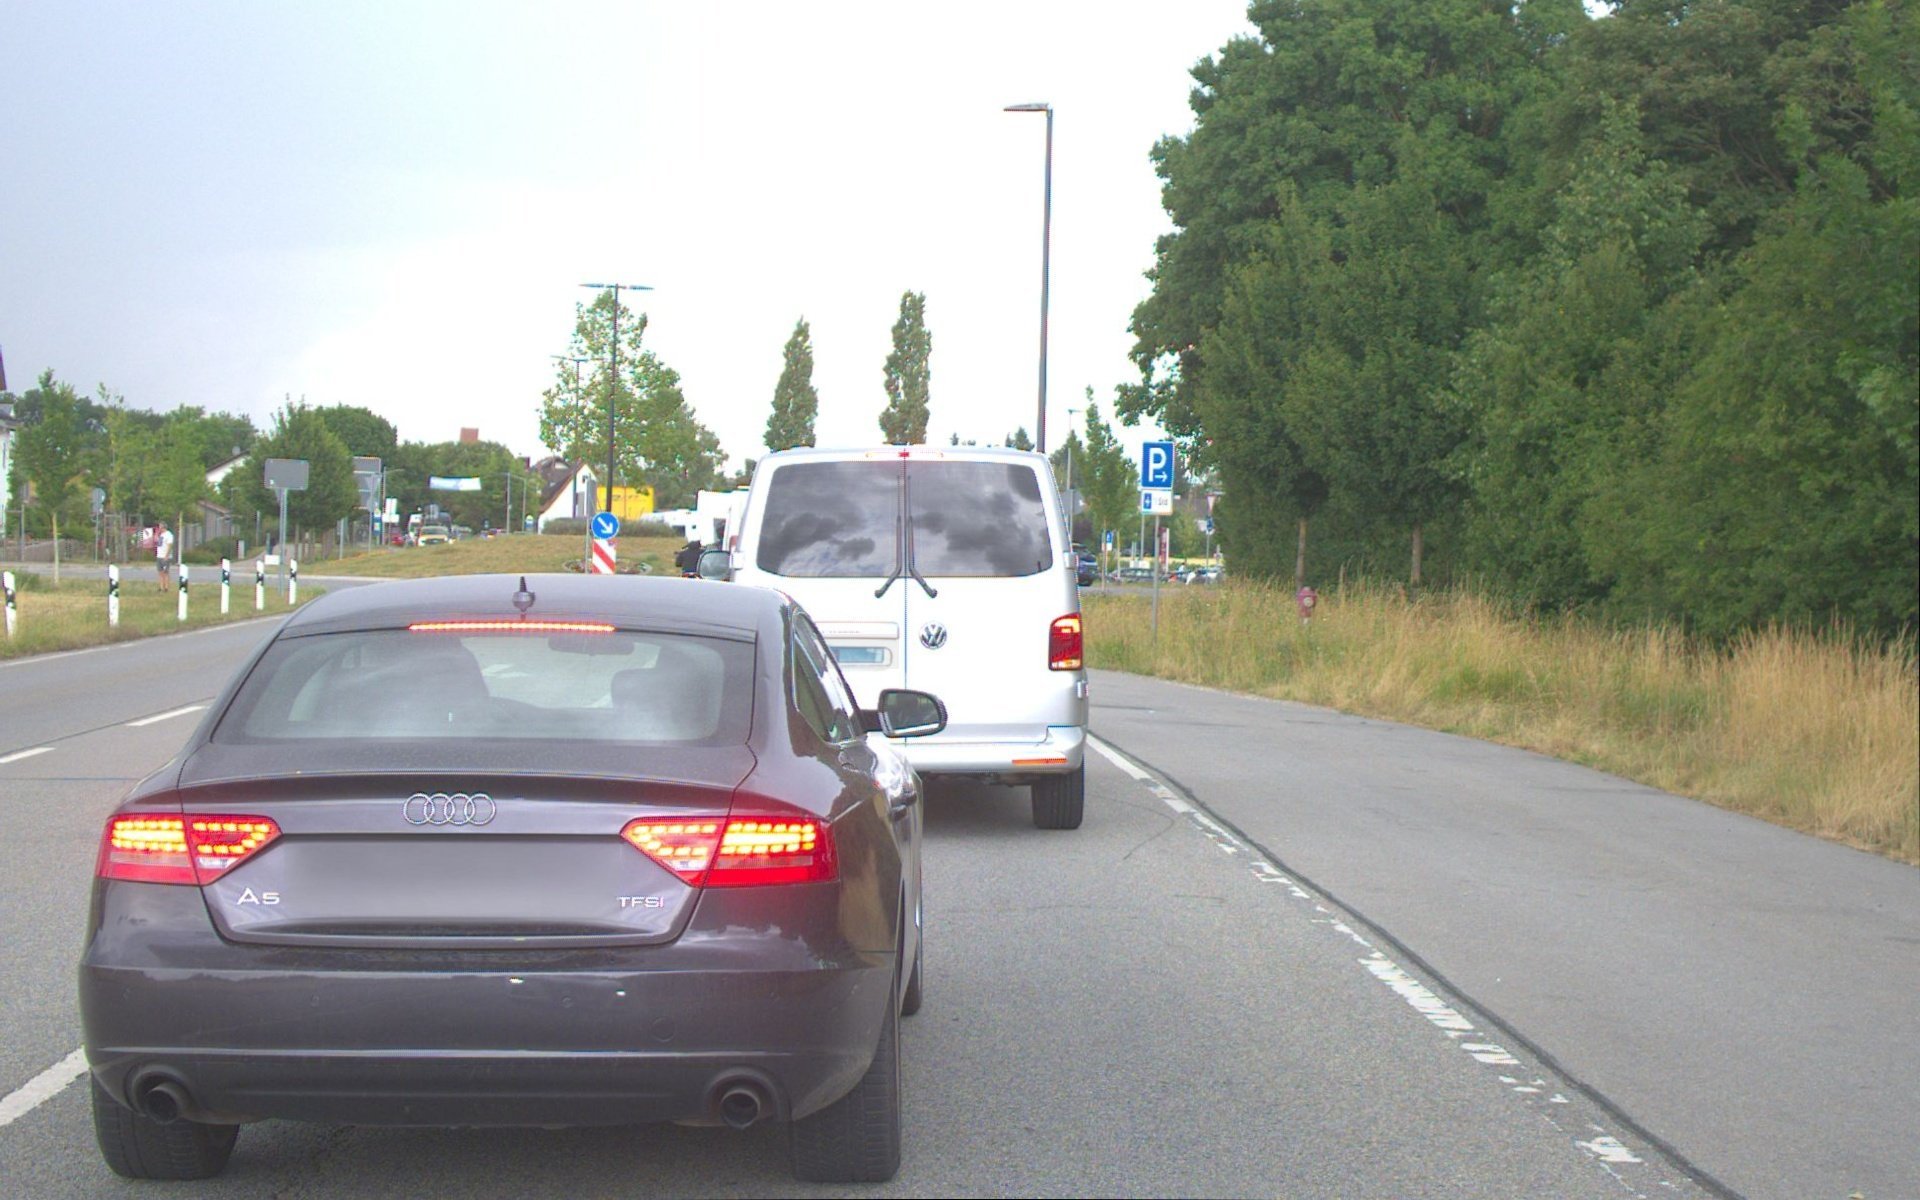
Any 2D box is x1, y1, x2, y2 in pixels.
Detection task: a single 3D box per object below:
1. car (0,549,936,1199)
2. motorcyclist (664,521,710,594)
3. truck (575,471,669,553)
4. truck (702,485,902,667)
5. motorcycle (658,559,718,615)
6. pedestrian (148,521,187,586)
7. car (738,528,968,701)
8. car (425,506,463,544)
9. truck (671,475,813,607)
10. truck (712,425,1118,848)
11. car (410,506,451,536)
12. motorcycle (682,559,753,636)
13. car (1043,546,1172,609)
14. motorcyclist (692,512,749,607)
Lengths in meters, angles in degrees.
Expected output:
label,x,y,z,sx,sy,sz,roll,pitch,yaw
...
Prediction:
label,x,y,z,sx,sy,sz,roll,pitch,yaw
car,-1.028,0.611,8.909,1.875,1.449,4.177,1,1,0
motorcyclist,-5.139,-0.805,64.702,0.785,1.352,0.854,1,1,-1
truck,-15.701,-4.094,158.967,3.575,3.566,9.959,2,1,-9
truck,-1.826,-0.315,41.371,2.193,2.007,5.085,1,1,-1
motorcycle,-5.122,-0.255,64.830,0.944,1.016,2.284,1,1,-1
pedestrian,-19.478,-1.147,84.503,0.656,1.580,0.703,1,1,-41
car,-0.997,0.097,32.236,1.993,1.480,4.000,1,1,-2
car,-28.178,-4.102,187.753,1.993,2.007,4.001,2,1,-8
truck,-4.861,-1.305,75.780,2.625,2.728,5.869,2,1,-8
truck,-0.251,0.130,18.843,1.904,1.991,4.629,1,1,-1
car,-30.029,-4.462,195.028,1.993,1.636,4.001,2,1,-5
motorcycle,-3.590,-0.052,51.083,0.920,1.090,2.189,2,1,-1
car,5.127,-0.775,119.066,3.991,2.007,1.998,2,1,19
motorcyclist,-3.549,-0.604,50.962,0.772,1.379,0.820,2,1,-1
